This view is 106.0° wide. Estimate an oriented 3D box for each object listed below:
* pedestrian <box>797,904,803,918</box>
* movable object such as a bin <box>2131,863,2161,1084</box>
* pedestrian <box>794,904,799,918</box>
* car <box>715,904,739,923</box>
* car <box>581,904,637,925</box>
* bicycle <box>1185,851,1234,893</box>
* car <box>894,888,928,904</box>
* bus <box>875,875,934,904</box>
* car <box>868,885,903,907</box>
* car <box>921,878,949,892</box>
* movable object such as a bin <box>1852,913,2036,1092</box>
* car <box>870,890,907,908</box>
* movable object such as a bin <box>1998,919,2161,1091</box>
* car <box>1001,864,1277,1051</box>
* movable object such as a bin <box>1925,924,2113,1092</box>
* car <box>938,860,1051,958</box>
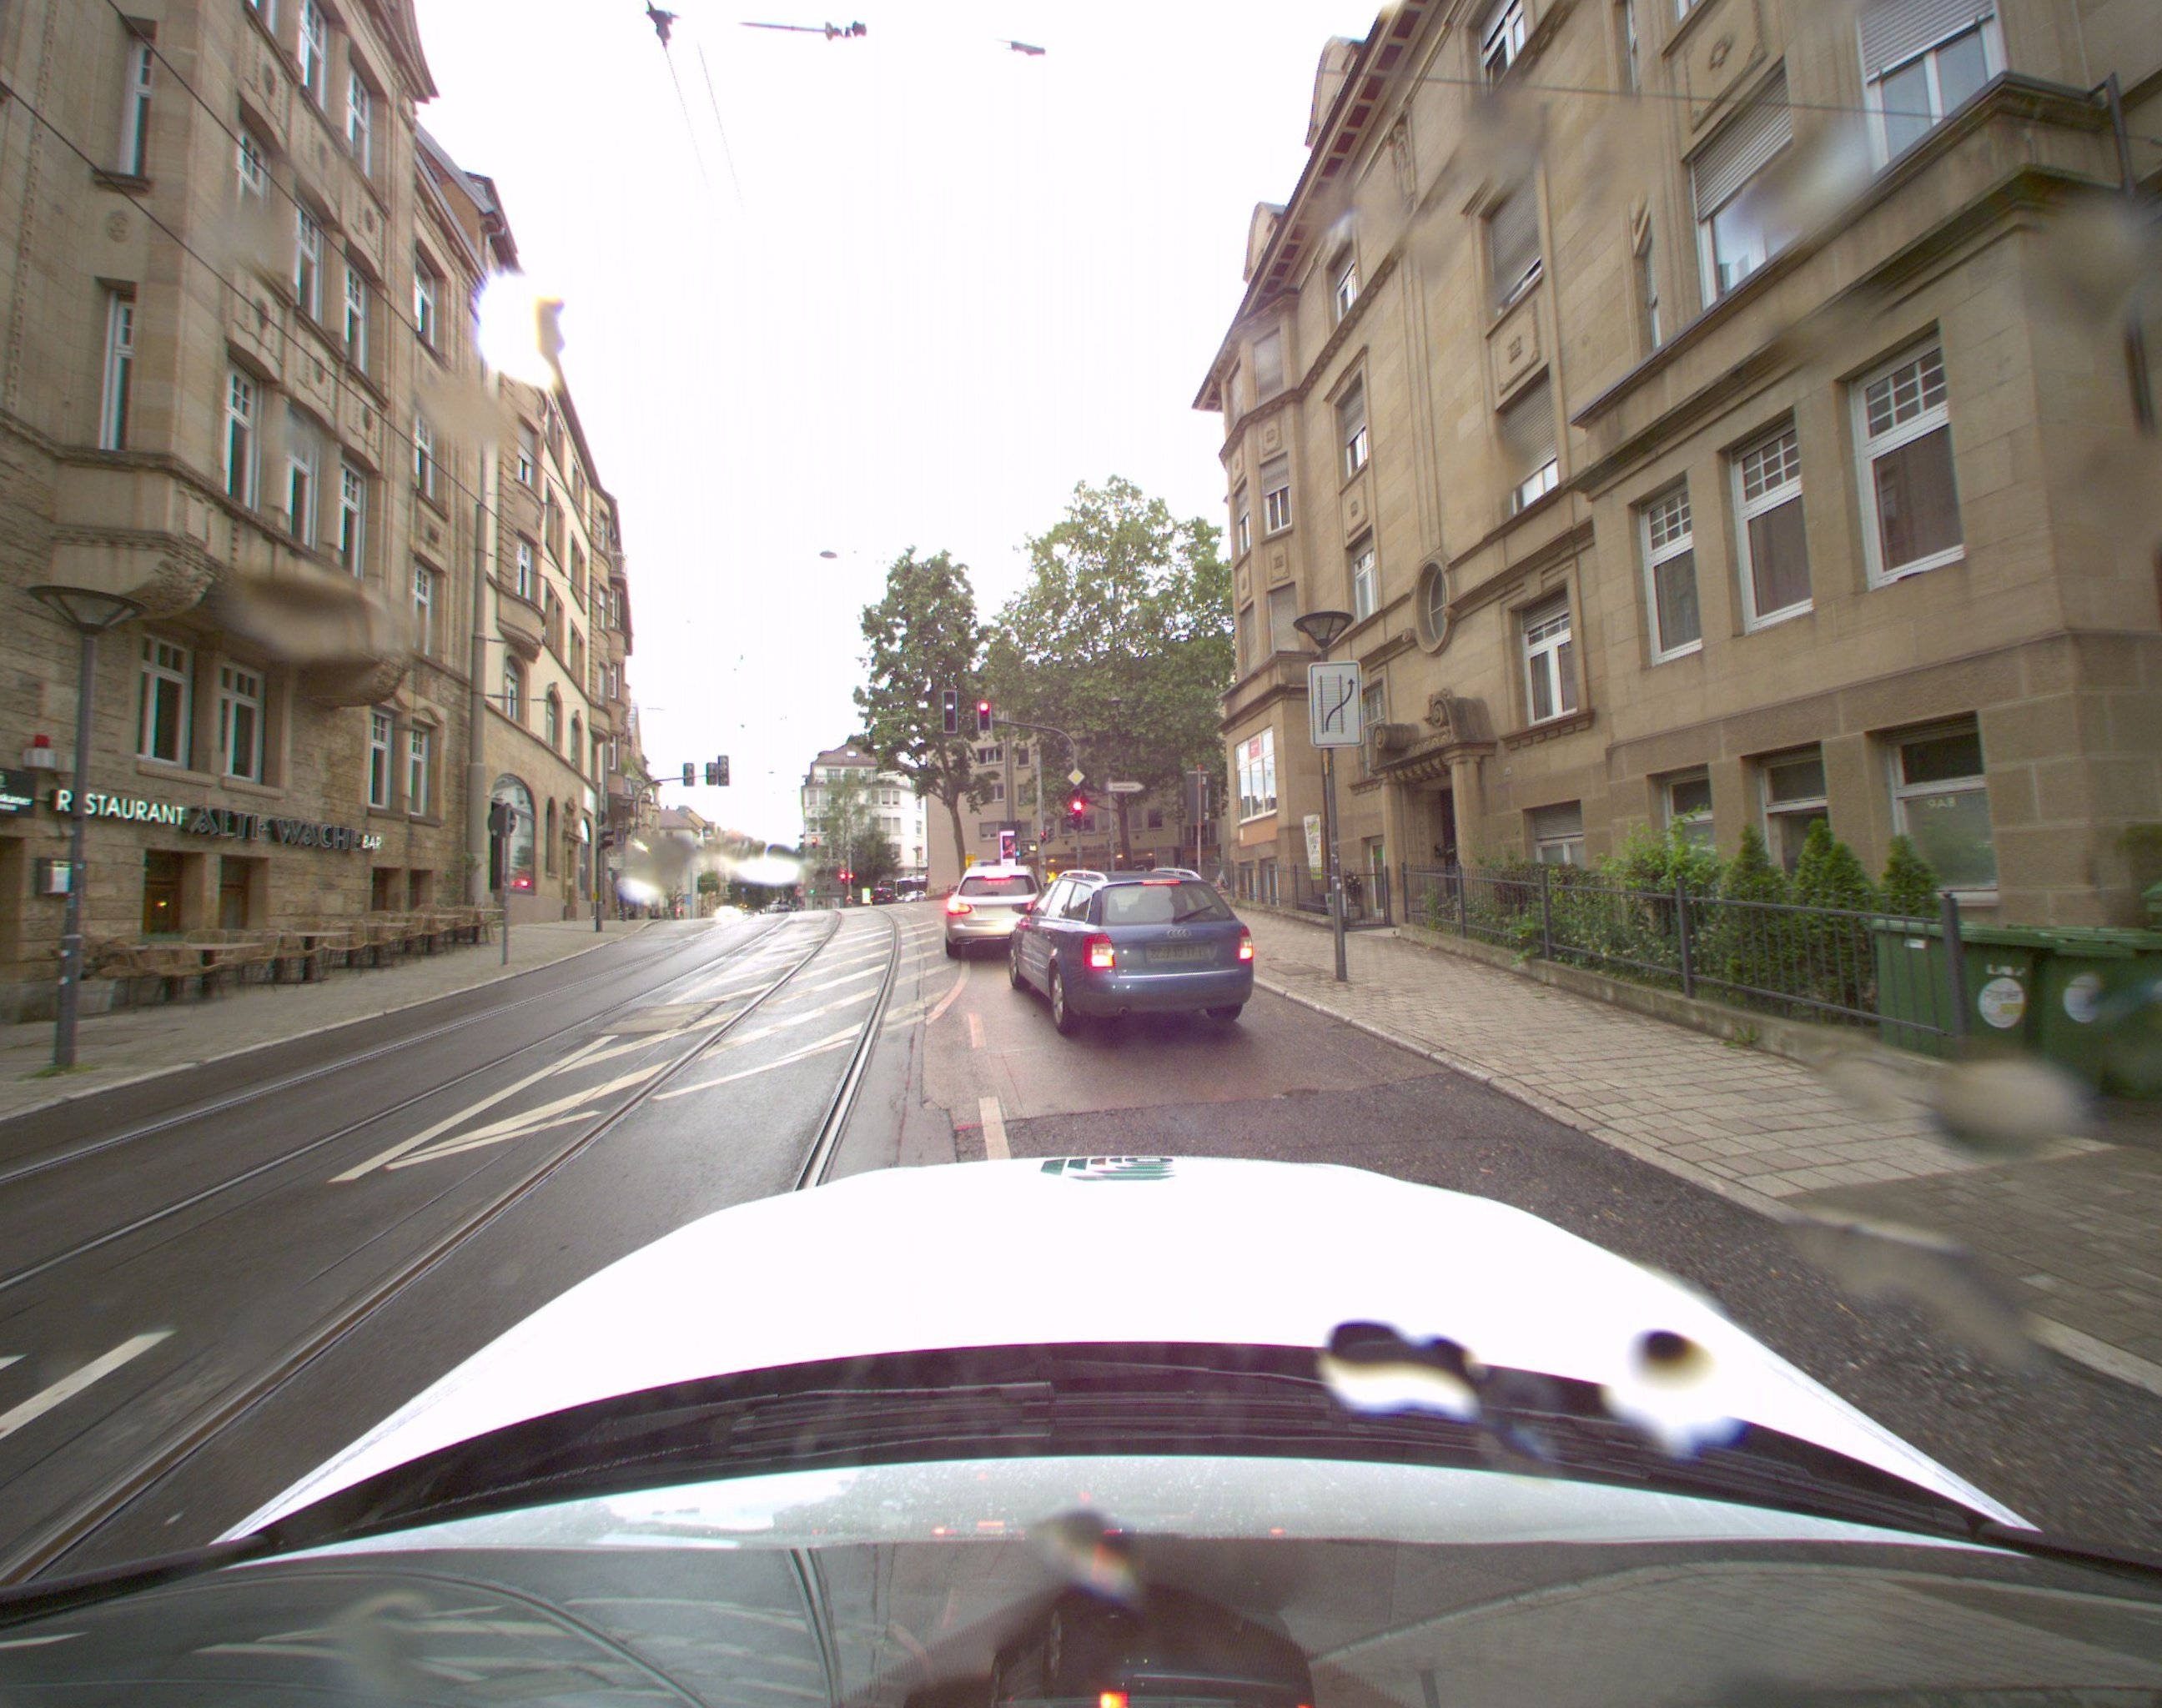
[{"bbox_3d":[-33.616,6.804,97.591,0.650,1.661,0.646,-1,-1,-19],"label":"pedestrian"},{"bbox_3d":[7.573,0.778,4.873,0.971,1.432,1.275,2,-2,-10],"label":"movable object such as a bin"},{"bbox_3d":[-34.995,6.962,100.181,0.650,1.661,0.646,-1,-1,-19],"label":"pedestrian"},{"bbox_3d":[-34.813,5.809,80.062,1.805,1.510,4.623,-2,0,-28],"label":"car"},{"bbox_3d":[-41.135,5.270,71.098,4.008,1.510,1.785,-2,-1,-26],"label":"car"},{"bbox_3d":[3.934,0.546,24.993,1.300,1.173,0.524,-4,0,-11],"label":"bicycle"},{"bbox_3d":[-18.734,4.659,90.111,1.779,1.510,4.020,-3,0,20],"label":"car"},{"bbox_3d":[-20.754,4.135,96.211,2.832,2.861,8.771,-3,0,16],"label":"bus"},{"bbox_3d":[-16.660,3.563,69.610,1.788,1.510,4.000,-5,0,1],"label":"car"},{"bbox_3d":[-18.682,3.981,104.310,1.779,1.510,4.020,-3,0,20],"label":"car"},{"bbox_3d":[5.430,0.907,5.153,0.537,1.026,0.602,2,-2,-10],"label":"movable object such as a bin"},{"bbox_3d":[-20.199,4.693,85.480,1.779,1.614,4.020,-3,0,20],"label":"car"},{"bbox_3d":[6.638,0.962,5.364,0.537,1.026,0.602,2,-2,-10],"label":"movable object such as a bin"},{"bbox_3d":[0.323,0.844,8.600,1.713,1.415,4.016,-1,0,-14],"label":"car"},{"bbox_3d":[6.006,0.961,5.240,0.537,0.968,0.602,2,-2,-10],"label":"movable object such as a bin"},{"bbox_3d":[-1.483,0.858,14.329,1.708,1.456,3.546,-1,0,-5],"label":"car"}]
